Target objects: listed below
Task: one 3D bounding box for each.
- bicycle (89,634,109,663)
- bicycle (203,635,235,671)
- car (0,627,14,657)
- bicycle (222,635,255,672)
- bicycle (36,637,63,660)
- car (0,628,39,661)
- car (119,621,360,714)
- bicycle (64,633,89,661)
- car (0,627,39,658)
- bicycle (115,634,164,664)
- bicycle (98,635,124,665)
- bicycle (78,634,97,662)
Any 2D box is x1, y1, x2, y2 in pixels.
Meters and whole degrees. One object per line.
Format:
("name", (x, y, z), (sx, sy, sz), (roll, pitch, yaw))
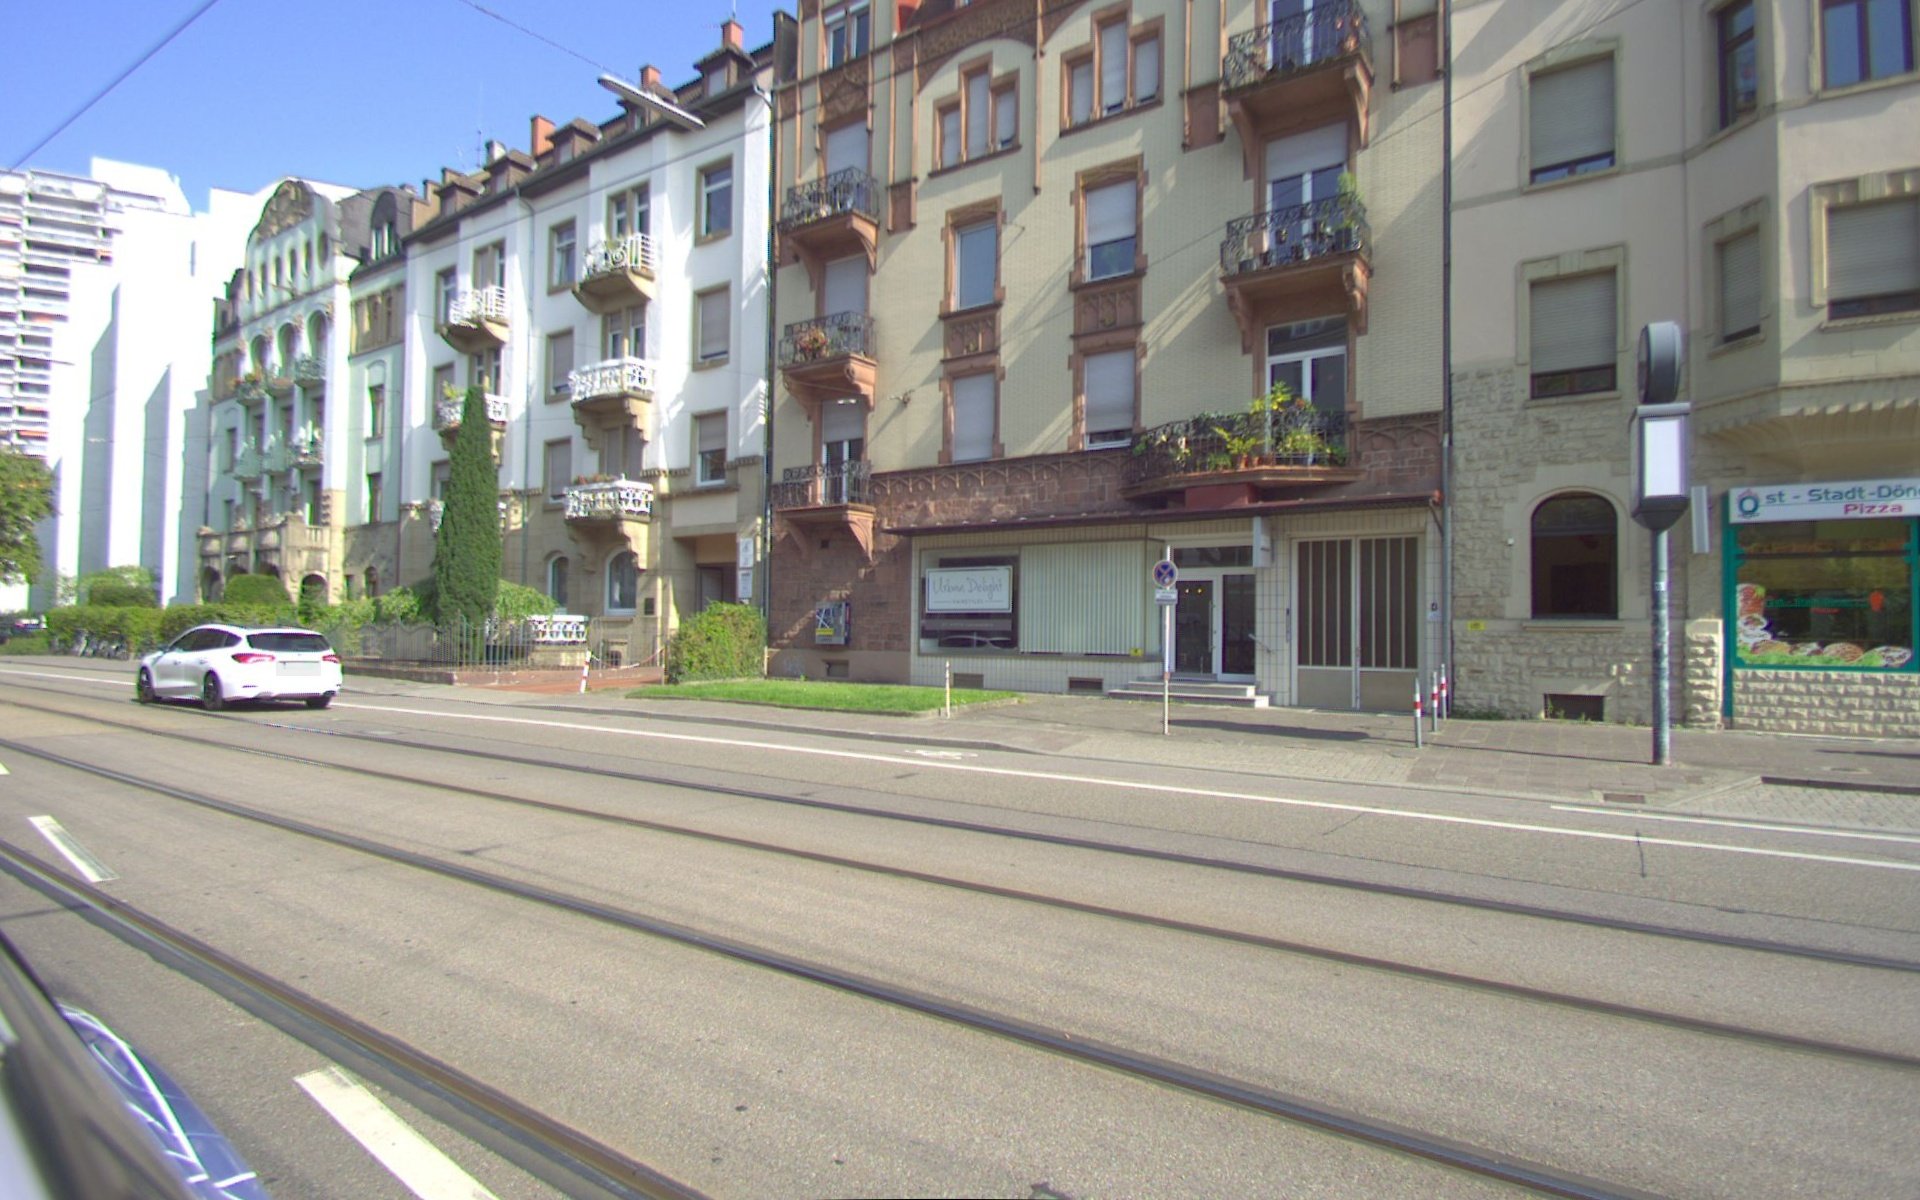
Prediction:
("bicycle", (-33.600, 1.885, 39.470), (1.677, 1.096, 0.419), (-2, -3, 45))
("bicycle", (-23.765, 1.691, 32.448), (1.352, 1.096, 0.367), (-1, -3, 35))
("car", (-51.069, 2.147, 52.027), (1.743, 1.539, 4.010), (1, -2, -13))
("bicycle", (-22.363, 1.654, 31.371), (1.352, 1.096, 0.367), (-1, -3, 35))
("bicycle", (-38.656, 2.050, 42.950), (1.766, 0.985, 0.421), (-1, -3, 35))
("car", (-45.911, 2.073, 47.860), (1.743, 1.539, 4.010), (1, -2, -13))
("car", (-12.798, 1.164, 17.905), (4.531, 1.466, 1.857), (-1, -5, 33))
("bicycle", (-35.895, 1.911, 41.099), (1.674, 1.096, 0.420), (-1, -3, 38))
("car", (-48.574, 2.115, 50.642), (1.744, 1.539, 4.007), (1, -2, -9))
("bicycle", (-30.826, 1.841, 38.033), (0.422, 1.096, 1.388), (0, -3, 18))
("bicycle", (-31.991, 1.864, 38.120), (1.675, 1.096, 0.420), (-1, -3, 40))
("bicycle", (-34.340, 1.880, 39.822), (1.677, 1.096, 0.419), (-2, -3, 45))
